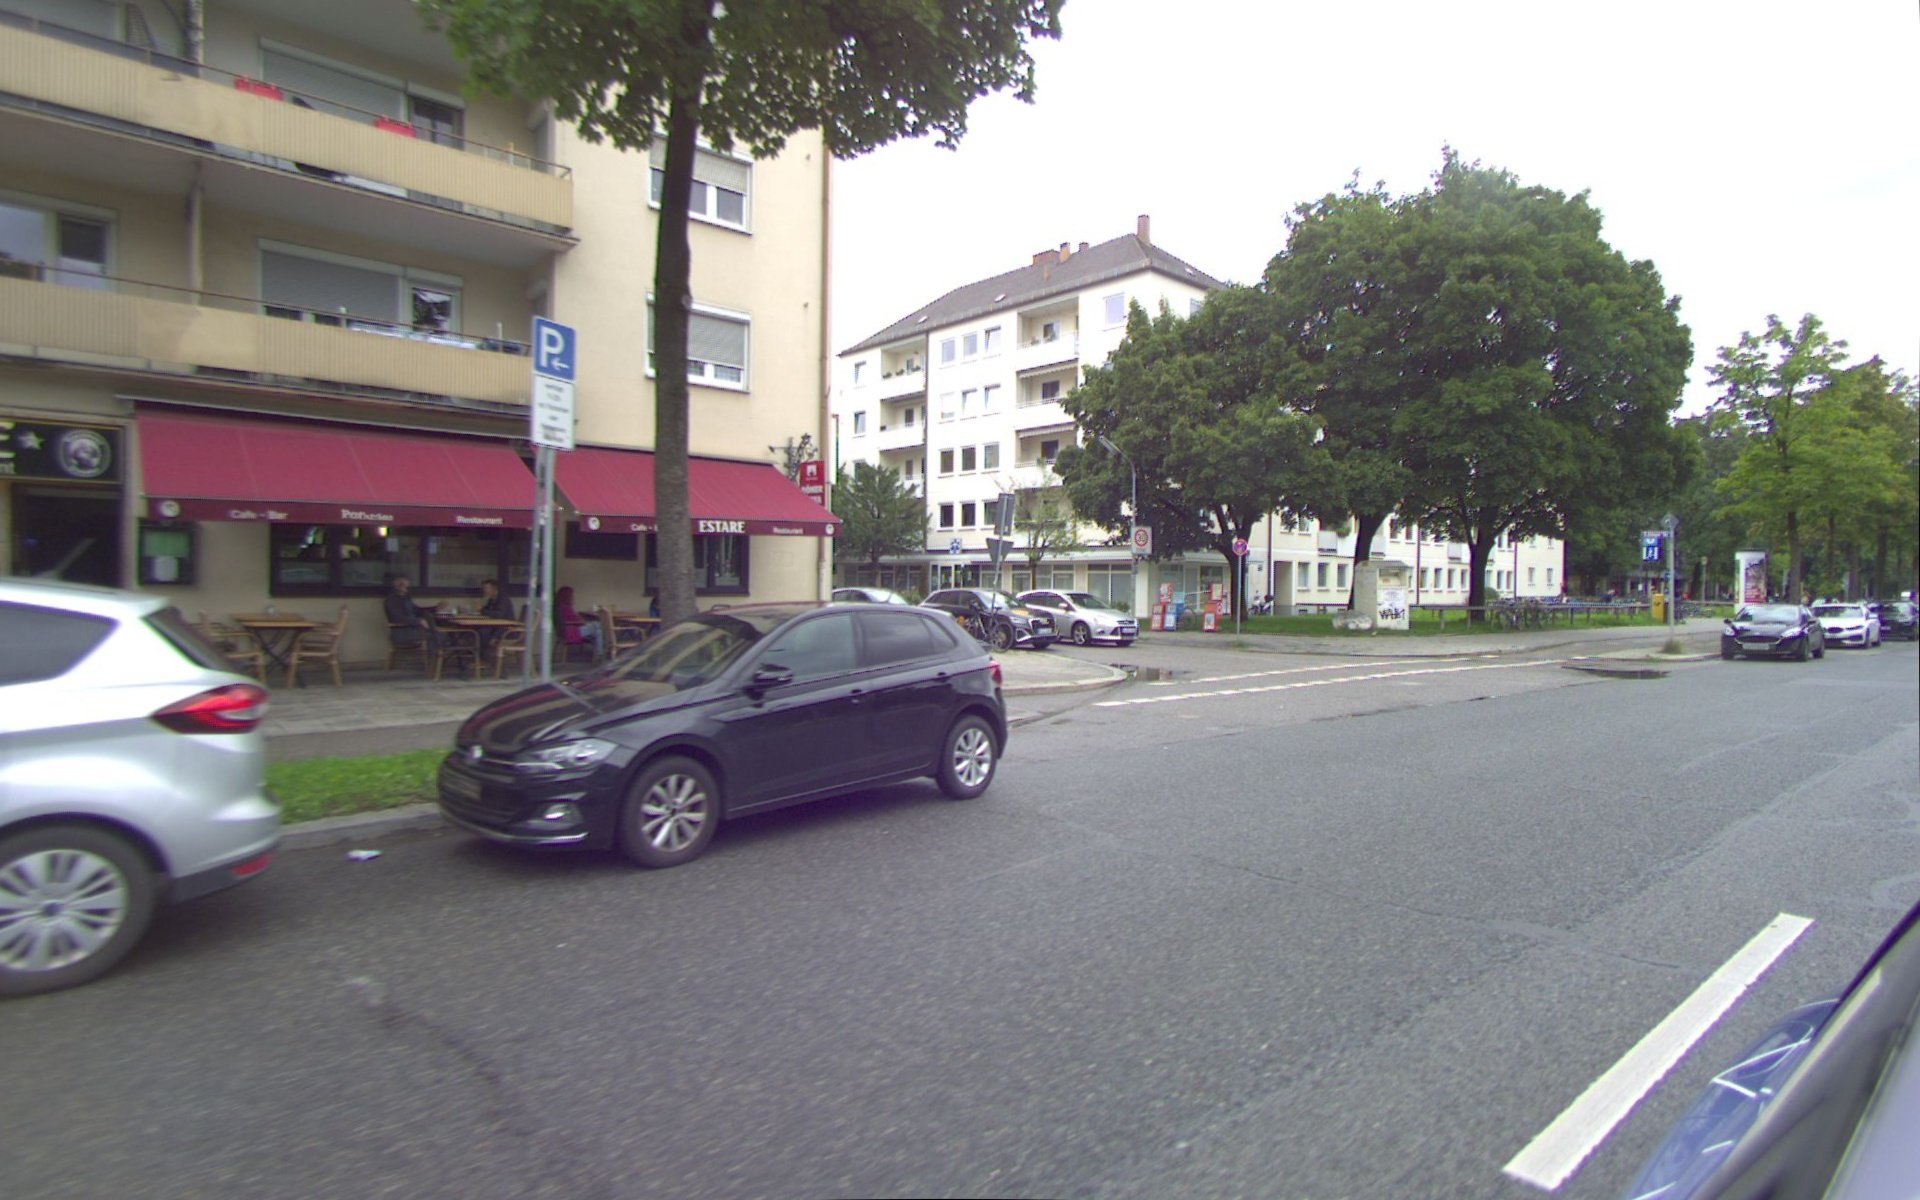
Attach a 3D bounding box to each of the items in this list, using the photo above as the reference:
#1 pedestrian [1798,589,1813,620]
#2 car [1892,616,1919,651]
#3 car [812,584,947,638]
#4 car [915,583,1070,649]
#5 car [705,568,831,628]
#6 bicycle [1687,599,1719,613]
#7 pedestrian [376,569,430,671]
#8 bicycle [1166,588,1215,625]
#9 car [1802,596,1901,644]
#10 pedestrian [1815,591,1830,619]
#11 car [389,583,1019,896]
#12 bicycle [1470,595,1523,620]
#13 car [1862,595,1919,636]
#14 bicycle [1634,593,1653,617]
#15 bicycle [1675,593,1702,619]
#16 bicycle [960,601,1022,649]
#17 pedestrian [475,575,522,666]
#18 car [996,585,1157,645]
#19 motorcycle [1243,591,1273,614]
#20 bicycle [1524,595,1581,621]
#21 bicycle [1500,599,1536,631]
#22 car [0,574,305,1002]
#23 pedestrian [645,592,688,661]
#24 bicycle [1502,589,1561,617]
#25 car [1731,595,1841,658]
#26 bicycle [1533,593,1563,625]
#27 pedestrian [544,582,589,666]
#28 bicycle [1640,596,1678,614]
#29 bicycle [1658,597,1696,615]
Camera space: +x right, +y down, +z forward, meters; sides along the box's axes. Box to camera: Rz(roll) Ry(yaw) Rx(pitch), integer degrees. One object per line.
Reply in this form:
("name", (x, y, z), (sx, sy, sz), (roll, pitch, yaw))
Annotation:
("pedestrian", (48.970, 0.227, 58.617), (0.555, 1.778, 0.651), (1, 0, 30))
("car", (41.483, 1.444, 43.600), (3.859, 1.397, 1.615), (0, 0, -42))
("car", (-2.414, 0.273, 29.600), (1.965, 1.460, 3.993), (0, 1, -41))
("car", (0.756, 0.348, 25.694), (1.700, 1.538, 3.931), (0, 1, -41))
("car", (-6.584, -0.104, 34.286), (1.965, 1.909, 4.992), (0, 1, -41))
("bicycle", (42.664, 0.357, 58.116), (0.490, 0.722, 1.390), (0, 3, -44))
("pedestrian", (-7.605, 0.257, 13.826), (0.543, 1.356, 0.539), (0, 0, -41))
("bicycle", (7.684, 0.209, 33.754), (0.687, 1.170, 1.471), (0, 1, -42))
("car", (29.166, 0.633, 33.074), (4.212, 1.455, 1.824), (0, -1, -41))
("pedestrian", (49.561, 0.276, 58.140), (0.555, 1.625, 0.515), (1, 0, 30))
("car", (-1.487, 0.648, 6.903), (1.828, 1.491, 3.830), (1, 1, 41))
("bicycle", (24.210, 0.343, 45.691), (0.653, 1.081, 2.027), (0, 1, -44))
("car", (36.523, 0.565, 39.220), (4.085, 1.530, 1.824), (0, 0, -41))
("bicycle", (33.374, 0.240, 49.393), (1.231, 1.130, 0.466), (0, 0, -40))
("bicycle", (33.840, 0.261, 46.982), (2.039, 1.203, 0.545), (0, 0, -40))
("bicycle", (0.691, 0.546, 22.724), (0.543, 1.023, 1.544), (0, 1, -37))
("pedestrian", (-6.633, 0.282, 14.531), (0.478, 1.284, 0.539), (0, 0, -41))
("car", (3.067, 0.339, 27.329), (1.963, 1.460, 4.220), (0, 1, -37))
("motorcycle", (14.657, 0.110, 49.735), (1.593, 1.134, 0.606), (0, 1, -40))
("bicycle", (25.685, 0.346, 43.877), (0.653, 1.081, 2.027), (0, 1, -44))
("bicycle", (18.775, 0.487, 34.034), (1.820, 1.028, 0.448), (0, 0, -40))
("car", (-5.018, 0.667, 3.468), (4.446, 1.541, 1.832), (0, 1, -42))
("pedestrian", (-4.658, 0.406, 16.069), (0.478, 1.067, 0.539), (0, 0, -40))
("bicycle", (23.576, 0.111, 41.804), (0.653, 1.081, 2.027), (0, 1, -44))
("car", (21.449, 0.646, 26.225), (3.888, 1.496, 1.646), (0, 0, -42))
("bicycle", (20.888, 0.296, 35.940), (0.469, 1.068, 1.739), (4, 3, 45))
("pedestrian", (-5.899, 0.341, 15.179), (0.478, 1.229, 0.539), (0, 0, -40))
("bicycle", (37.209, 0.253, 53.870), (0.490, 0.927, 1.596), (0, 1, -44))
("bicycle", (39.263, 0.342, 55.414), (0.490, 0.927, 1.596), (0, 2, -44))
